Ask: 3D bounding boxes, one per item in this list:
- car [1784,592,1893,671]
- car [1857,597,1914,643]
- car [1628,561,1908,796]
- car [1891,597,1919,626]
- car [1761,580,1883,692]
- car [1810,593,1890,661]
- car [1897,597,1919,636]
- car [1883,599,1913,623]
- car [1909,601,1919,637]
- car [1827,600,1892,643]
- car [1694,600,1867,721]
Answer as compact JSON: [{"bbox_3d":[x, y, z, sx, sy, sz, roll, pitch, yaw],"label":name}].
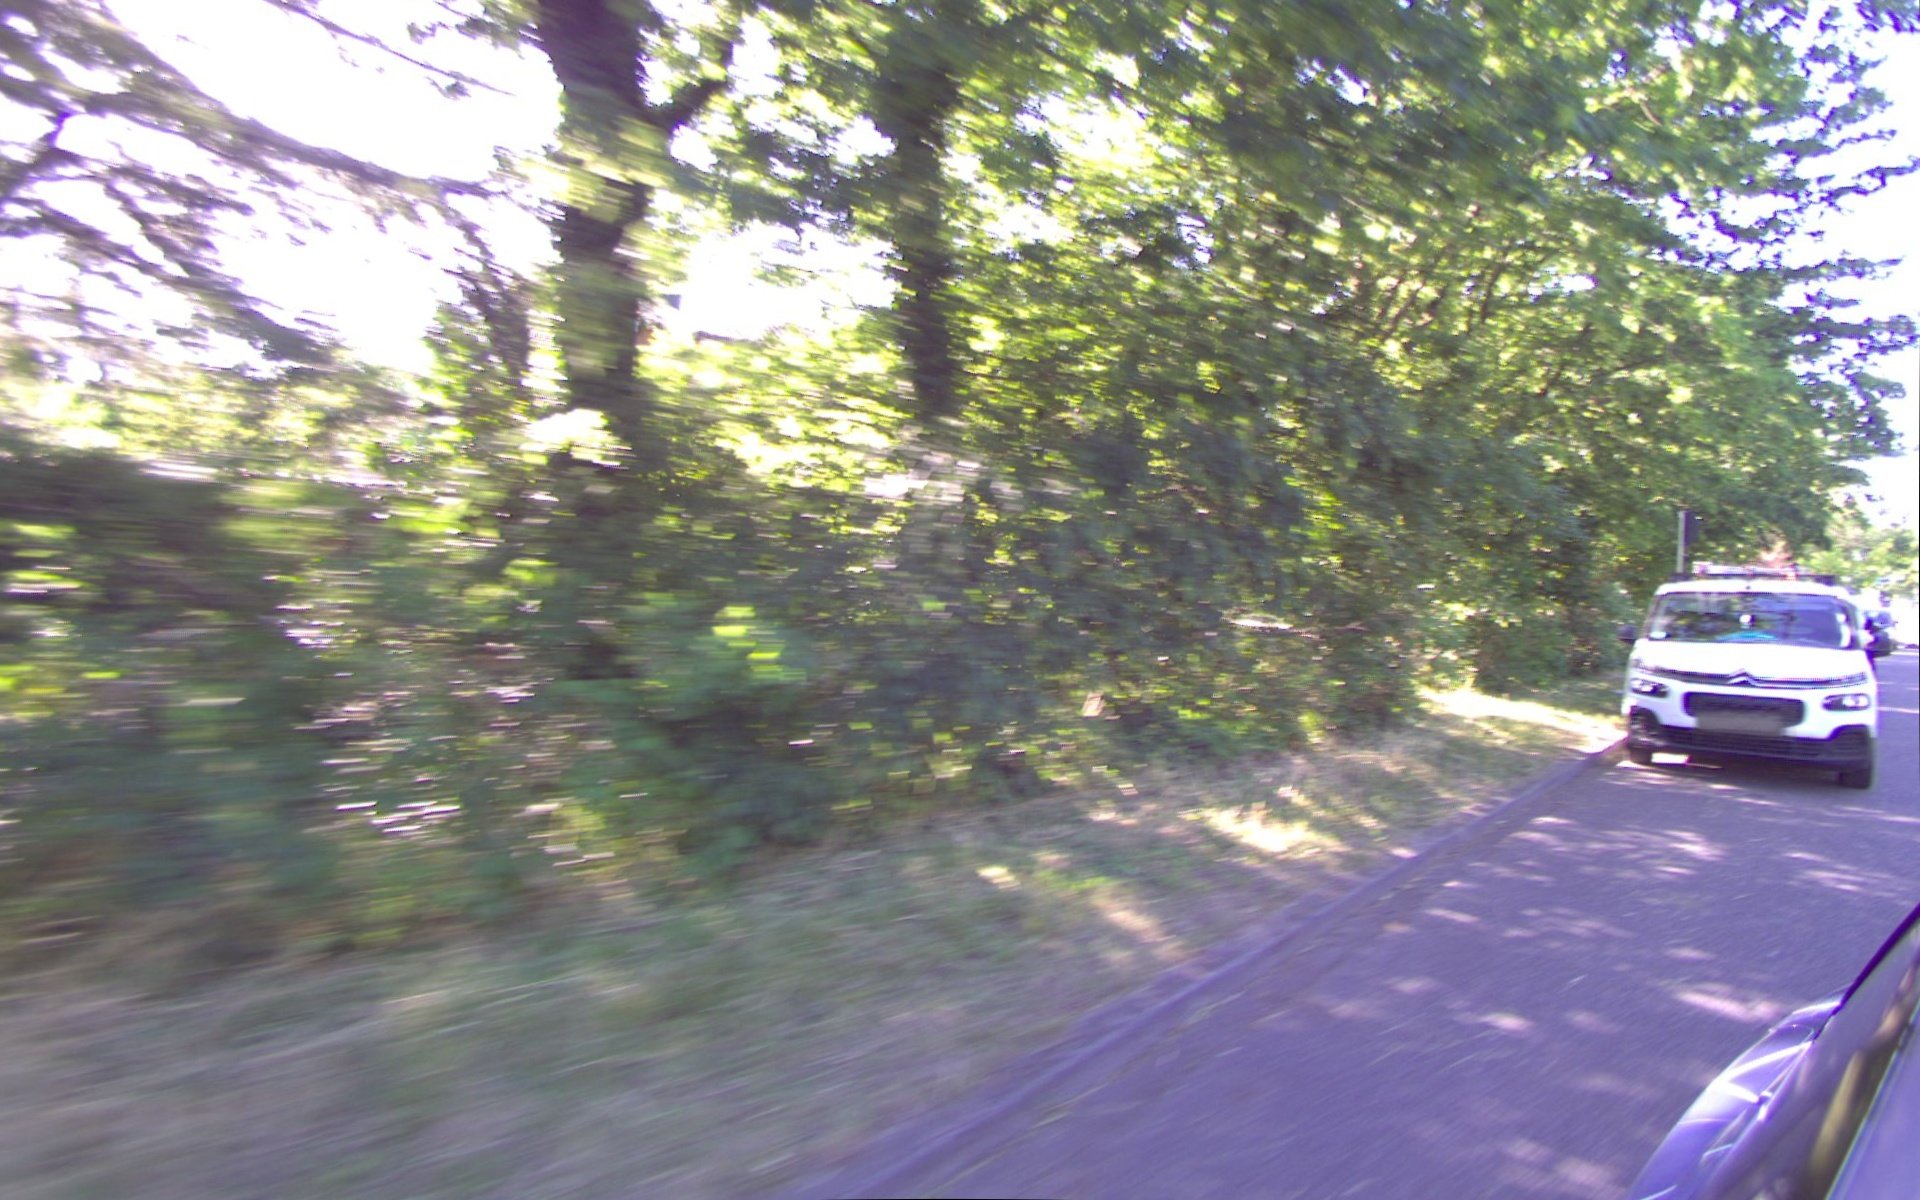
[{"bbox_3d":[20.751,0.682,23.888,1.767,1.659,3.695,3,2,42],"label":"car"},{"bbox_3d":[36.671,0.746,40.068,1.497,1.674,4.026,3,2,44],"label":"car"},{"bbox_3d":[8.037,0.571,10.120,1.748,1.770,4.568,3,2,39],"label":"car"},{"bbox_3d":[59.404,0.703,63.426,1.419,1.674,3.847,3,2,44],"label":"car"},{"bbox_3d":[15.661,0.583,18.337,1.496,1.776,3.743,3,2,42],"label":"car"},{"bbox_3d":[24.343,0.685,27.671,1.496,1.659,3.695,3,2,42],"label":"car"},{"bbox_3d":[43.517,0.745,45.834,1.447,1.674,3.660,3,2,44],"label":"car"},{"bbox_3d":[67.969,0.779,73.329,1.419,1.674,3.847,3,2,44],"label":"car"},{"bbox_3d":[46.540,0.901,48.497,1.447,1.674,3.660,3,2,44],"label":"car"},{"bbox_3d":[31.709,0.731,35.643,1.497,1.376,3.411,3,2,44],"label":"car"},{"bbox_3d":[12.207,0.764,14.940,1.717,1.462,4.543,2,1,42],"label":"car"}]
